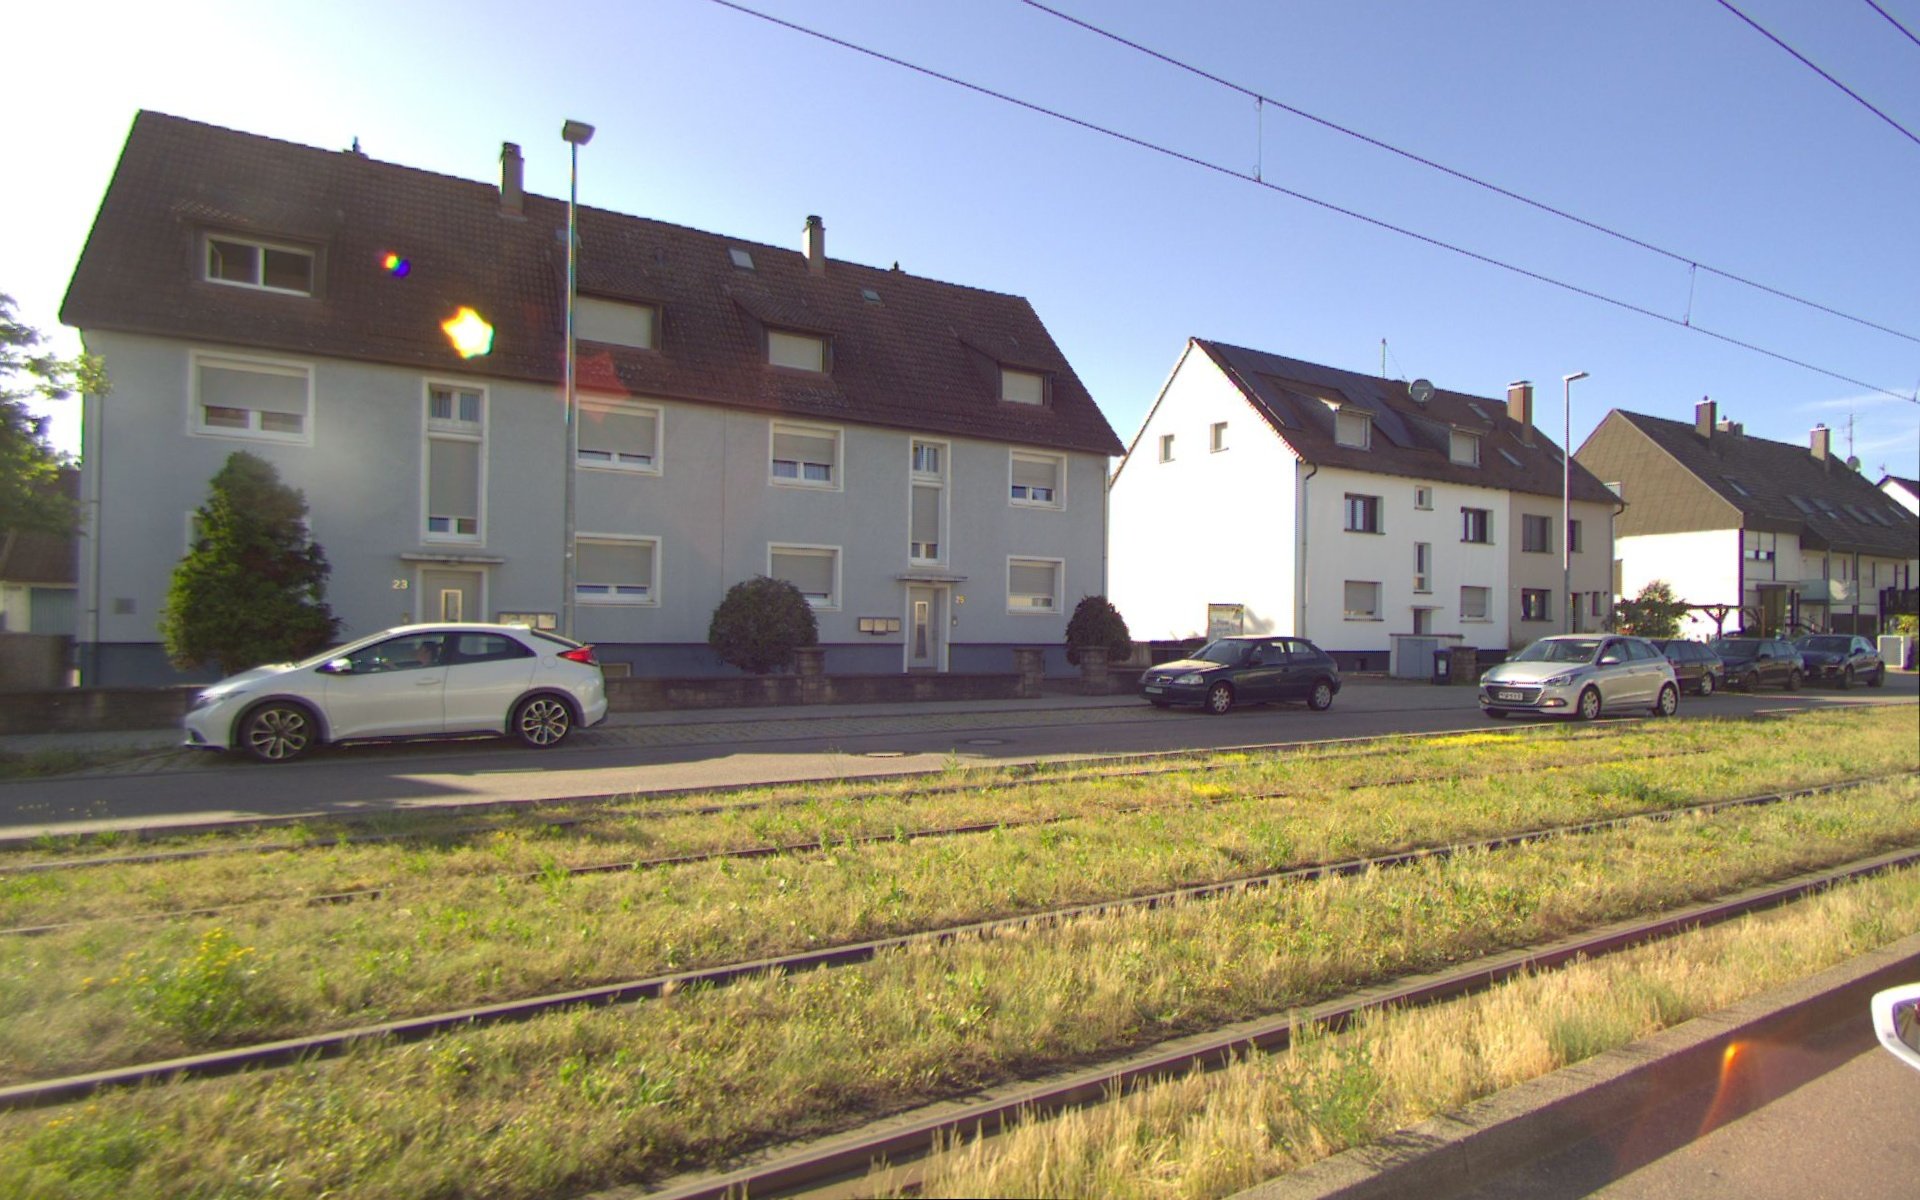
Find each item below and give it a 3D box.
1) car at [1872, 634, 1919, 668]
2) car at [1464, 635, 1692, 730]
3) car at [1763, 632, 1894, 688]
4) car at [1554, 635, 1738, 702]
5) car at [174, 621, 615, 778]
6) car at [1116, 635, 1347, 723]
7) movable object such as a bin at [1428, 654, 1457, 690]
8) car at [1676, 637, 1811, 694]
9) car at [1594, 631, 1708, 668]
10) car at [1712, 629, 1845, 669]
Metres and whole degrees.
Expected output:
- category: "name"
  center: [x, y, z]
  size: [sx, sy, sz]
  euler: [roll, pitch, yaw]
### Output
- category: "car"
  center: [45.812, 2.415, 47.387]
  size: [1.717, 1.588, 3.876]
  euler: [2, -2, -35]
- category: "car"
  center: [10.887, 1.428, 17.654]
  size: [3.976, 1.510, 1.701]
  euler: [3, -3, -29]
- category: "car"
  center: [26.892, 1.802, 31.055]
  size: [4.760, 1.618, 1.793]
  euler: [1, -2, -33]
- category: "car"
  center: [17.651, 1.715, 25.816]
  size: [4.818, 1.543, 1.870]
  euler: [1, -1, -27]
- category: "car"
  center: [-6.342, 1.046, 11.672]
  size: [4.165, 1.538, 1.684]
  euler: [1, -2, -31]
- category: "car"
  center: [5.092, 1.390, 18.728]
  size: [4.116, 1.482, 1.783]
  euler: [1, -2, -29]
- category: "movable object such as a bin"
  center: [12.731, 1.893, 26.506]
  size: [0.696, 0.939, 0.386]
  euler: [3, -3, -31]
- category: "car"
  center: [22.145, 1.797, 28.368]
  size: [4.149, 1.494, 1.514]
  euler: [1, -1, -29]
- category: "car"
  center: [33.074, 2.344, 48.175]
  size: [1.832, 1.676, 4.145]
  euler: [1, -2, -26]
- category: "car"
  center: [35.522, 2.093, 43.703]
  size: [1.740, 1.638, 4.142]
  euler: [1, -2, -33]
